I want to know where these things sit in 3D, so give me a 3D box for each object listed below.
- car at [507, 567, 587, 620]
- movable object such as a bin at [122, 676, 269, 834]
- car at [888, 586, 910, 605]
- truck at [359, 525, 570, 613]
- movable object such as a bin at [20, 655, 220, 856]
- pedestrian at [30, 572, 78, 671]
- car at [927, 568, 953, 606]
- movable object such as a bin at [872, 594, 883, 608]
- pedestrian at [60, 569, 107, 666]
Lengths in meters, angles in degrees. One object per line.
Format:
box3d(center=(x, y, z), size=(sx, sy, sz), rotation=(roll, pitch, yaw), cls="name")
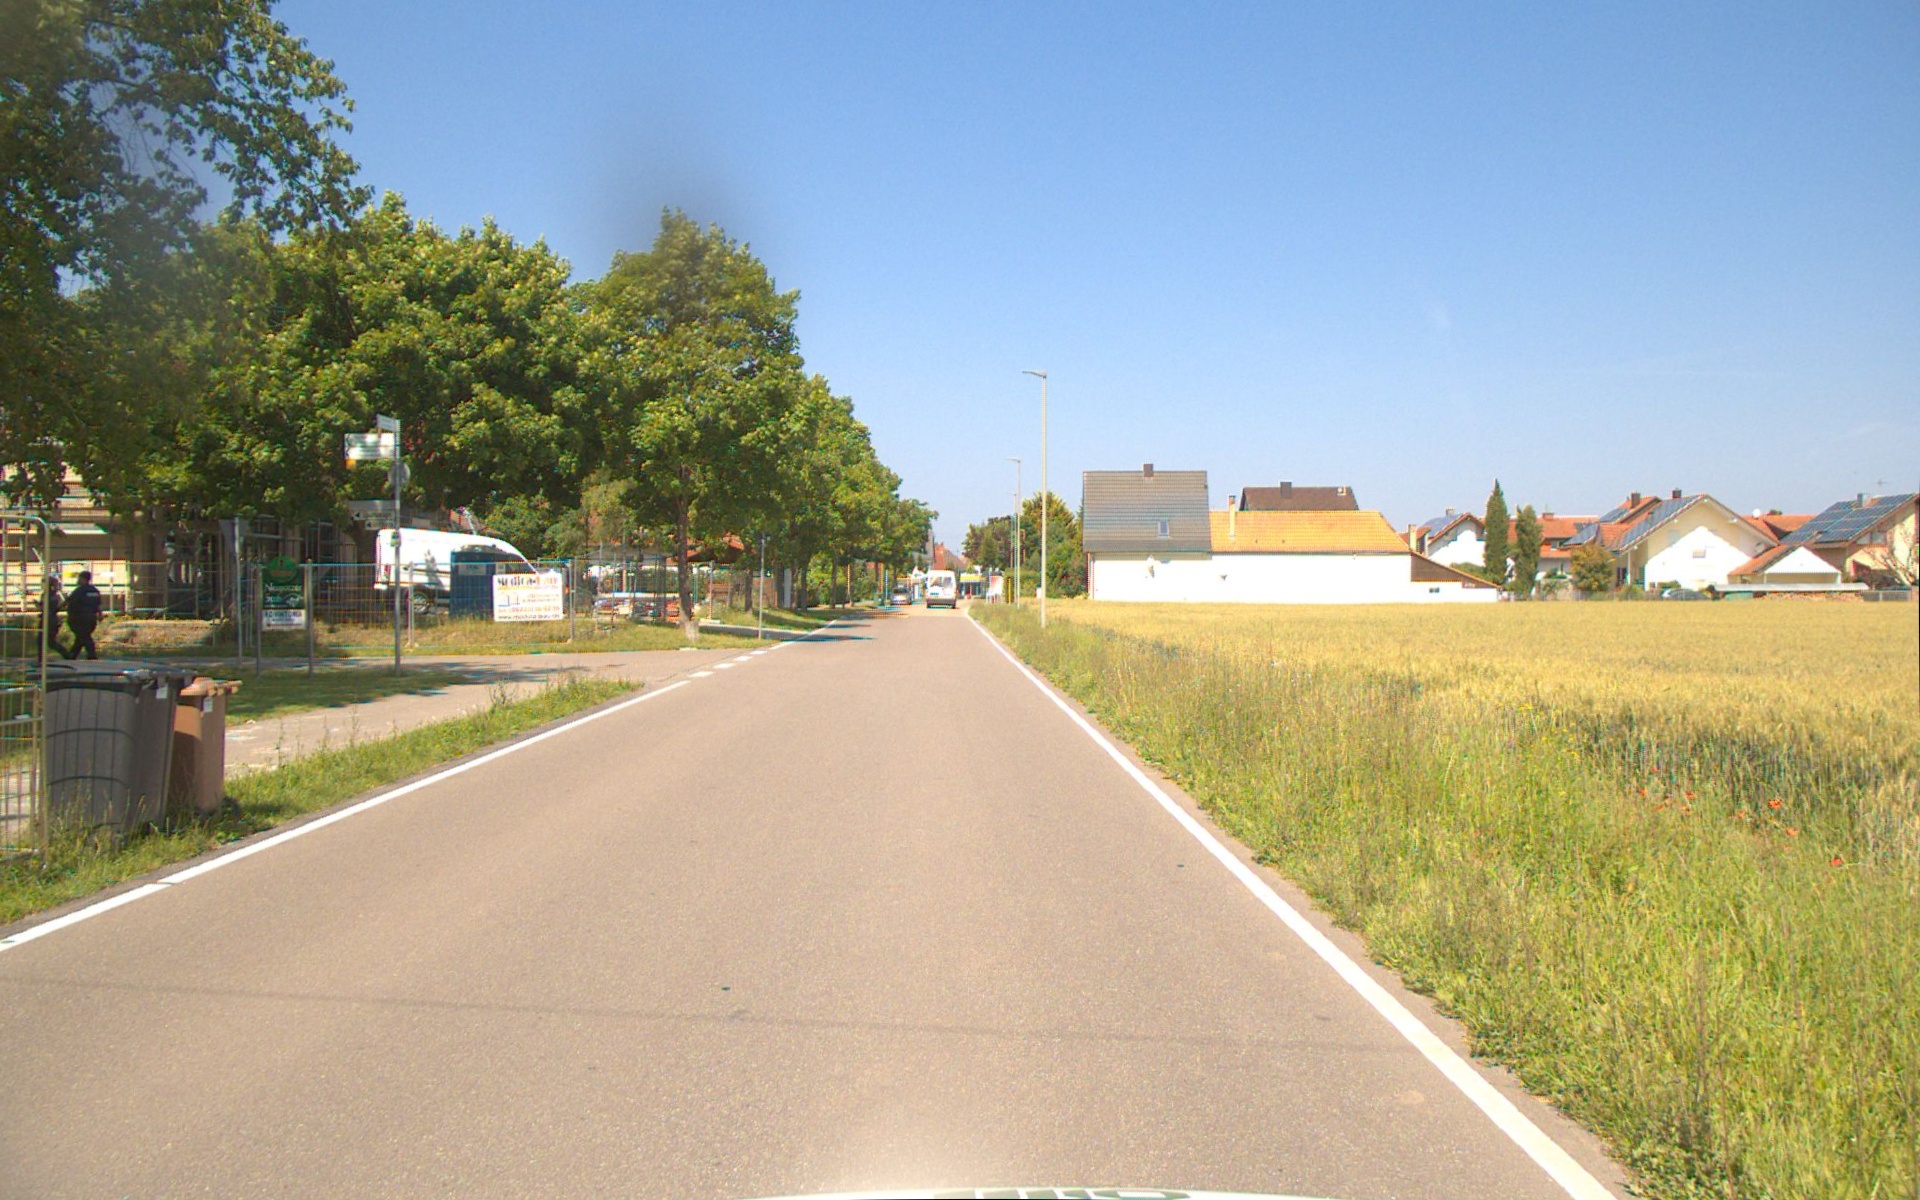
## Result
box3d(center=(-15.245, -0.252, 61.272), size=(1.930, 1.870, 4.327), rotation=(1, 0, -1), cls="car")
box3d(center=(-4.599, 0.921, 9.975), size=(0.550, 0.892, 0.614), rotation=(-1, 0, 7), cls="movable object such as a bin")
box3d(center=(-4.969, -0.378, 135.402), size=(1.613, 1.448, 4.079), rotation=(-3, 0, -1), cls="car")
box3d(center=(-14.987, -0.880, 50.275), size=(5.871, 2.527, 1.973), rotation=(0, 0, -38), cls="truck")
box3d(center=(-4.661, 0.845, 9.215), size=(0.684, 1.042, 0.748), rotation=(-1, 0, 7), cls="movable object such as a bin")
box3d(center=(-16.564, 0.379, 30.241), size=(0.592, 1.781, 0.585), rotation=(-1, 0, -10), cls="pedestrian")
box3d(center=(-1.310, -0.869, 111.531), size=(1.702, 2.474, 4.374), rotation=(-1, 0, 0), cls="car")
box3d(center=(-6.480, 0.087, 129.876), size=(0.699, 1.097, 0.639), rotation=(0, 0, 26), cls="movable object such as a bin")
box3d(center=(-16.397, 0.319, 30.952), size=(0.592, 1.781, 0.585), rotation=(-1, 0, -10), cls="pedestrian")
